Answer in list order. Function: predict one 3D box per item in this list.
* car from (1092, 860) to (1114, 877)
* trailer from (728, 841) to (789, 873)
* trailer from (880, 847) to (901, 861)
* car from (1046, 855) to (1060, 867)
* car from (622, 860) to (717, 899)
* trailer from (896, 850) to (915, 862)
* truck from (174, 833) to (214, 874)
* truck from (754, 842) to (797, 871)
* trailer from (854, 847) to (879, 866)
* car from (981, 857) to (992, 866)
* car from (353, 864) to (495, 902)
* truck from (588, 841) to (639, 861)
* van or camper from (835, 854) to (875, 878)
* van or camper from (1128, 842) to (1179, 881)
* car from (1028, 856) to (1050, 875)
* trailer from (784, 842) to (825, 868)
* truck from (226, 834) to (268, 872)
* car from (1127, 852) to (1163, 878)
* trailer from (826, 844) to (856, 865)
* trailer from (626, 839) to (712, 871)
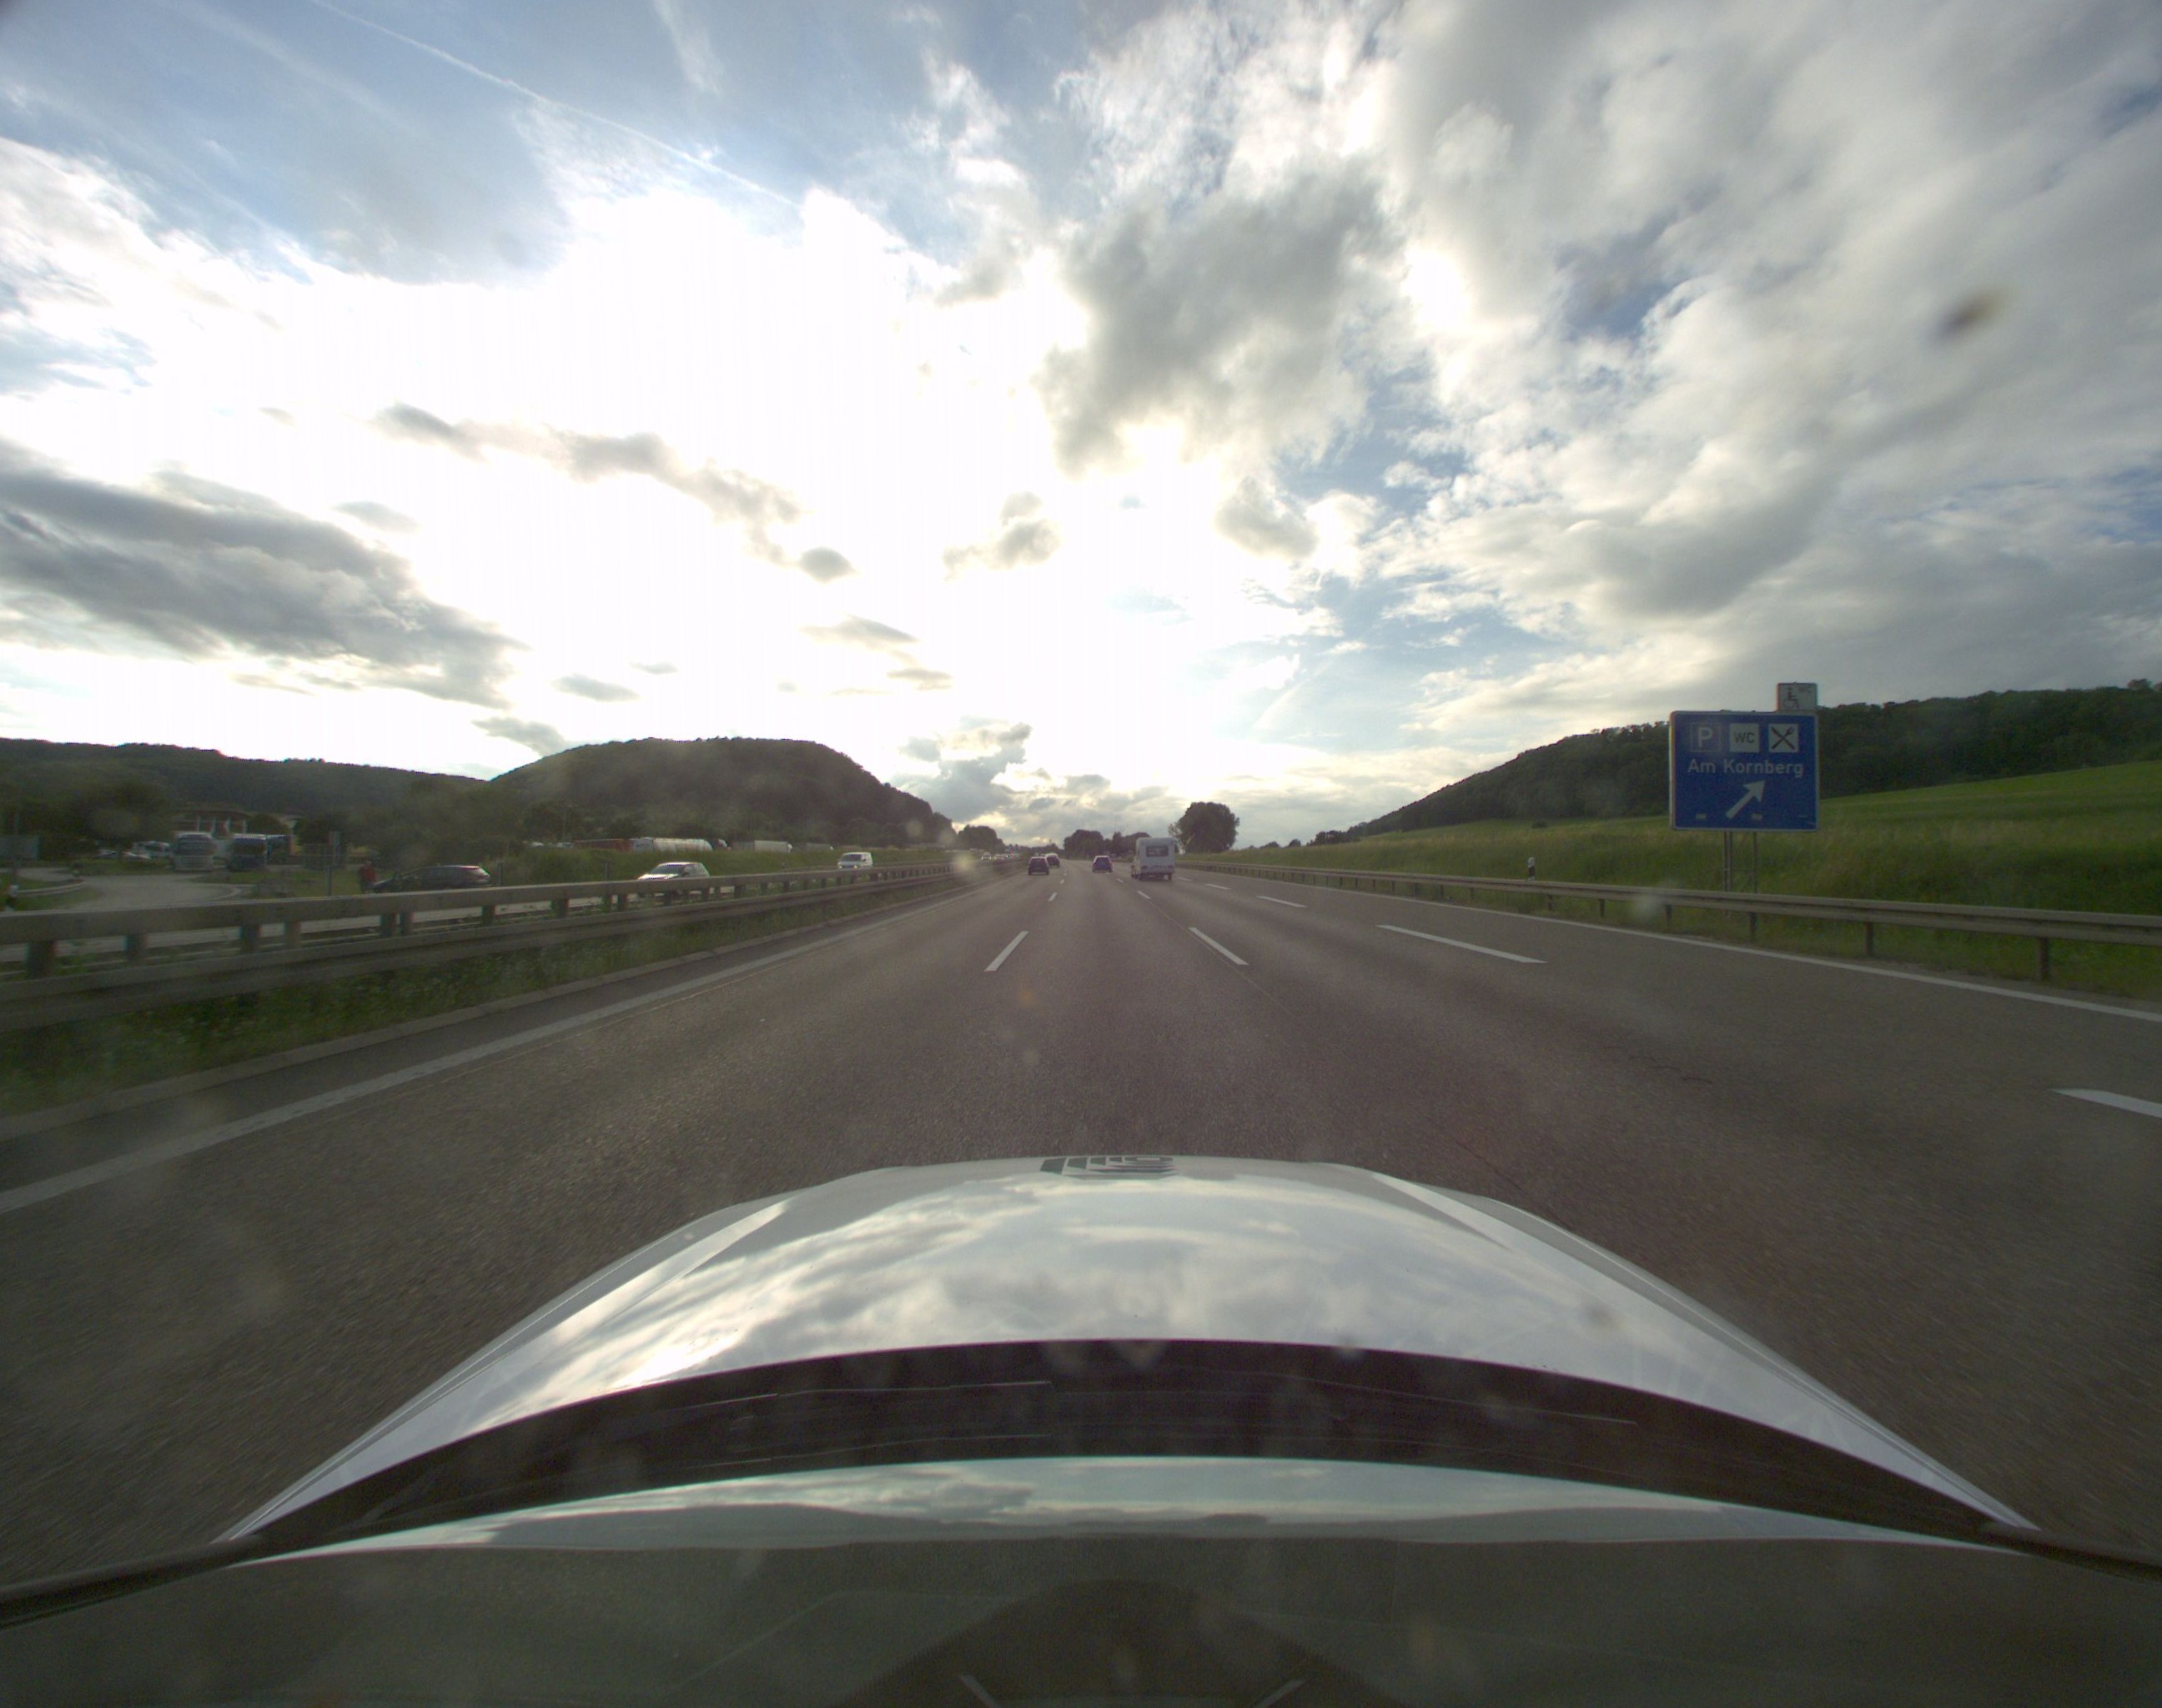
[{"bbox_3d":[1.980,1.285,72.840,1.762,1.433,3.998,-2,-1,-1],"label":"car"},{"bbox_3d":[-40.536,0.351,103.140,2.871,3.696,13.660,-2,0,-3],"label":"trailer"},{"bbox_3d":[-44.927,0.034,192.498,2.870,2.854,11.368,0,-1,-2],"label":"trailer"},{"bbox_3d":[-3.444,0.838,100.500,1.560,1.380,3.998,-1,0,-1],"label":"car"},{"bbox_3d":[-18.170,1.079,36.268,1.989,1.497,4.687,-2,0,-3],"label":"car"},{"bbox_3d":[-45.809,0.447,213.265,2.870,2.854,11.368,0,-1,-2],"label":"trailer"},{"bbox_3d":[-90.753,0.067,83.266,11.235,3.857,2.603,-2,-2,42],"label":"truck"},{"bbox_3d":[-40.870,0.401,109.102,2.875,3.691,8.482,-2,-1,-3],"label":"truck"},{"bbox_3d":[-44.438,0.452,169.006,2.870,3.696,10.361,-2,0,-3],"label":"trailer"},{"bbox_3d":[-18.873,1.530,163.408,1.802,1.614,4.338,0,-1,-1],"label":"car"},{"bbox_3d":[-29.914,1.275,37.270,4.618,1.551,1.987,-1,0,-19],"label":"car"},{"bbox_3d":[-54.079,-0.308,94.137,7.215,2.014,2.918,-2,-2,41],"label":"truck"},{"bbox_3d":[-18.215,0.928,65.776,1.909,1.873,4.753,-1,0,0],"label":"van or camper"},{"bbox_3d":[4.373,0.443,50.283,2.541,2.239,5.325,-1,0,-2],"label":"van or camper"},{"bbox_3d":[-3.450,0.921,66.918,1.532,1.347,3.679,0,2,1],"label":"car"},{"bbox_3d":[-42.462,0.277,125.593,2.873,3.696,13.648,-2,-1,-5],"label":"trailer"},{"bbox_3d":[-89.585,0.010,87.386,11.235,3.857,2.603,-2,-2,42],"label":"truck"},{"bbox_3d":[4.299,0.722,55.245,1.782,1.652,4.476,0,0,-4],"label":"car"},{"bbox_3d":[-43.202,0.099,146.898,2.870,3.696,10.361,-2,0,-3],"label":"trailer"},{"bbox_3d":[-39.623,0.197,78.937,2.572,2.854,12.250,0,-1,-2],"label":"trailer"}]
